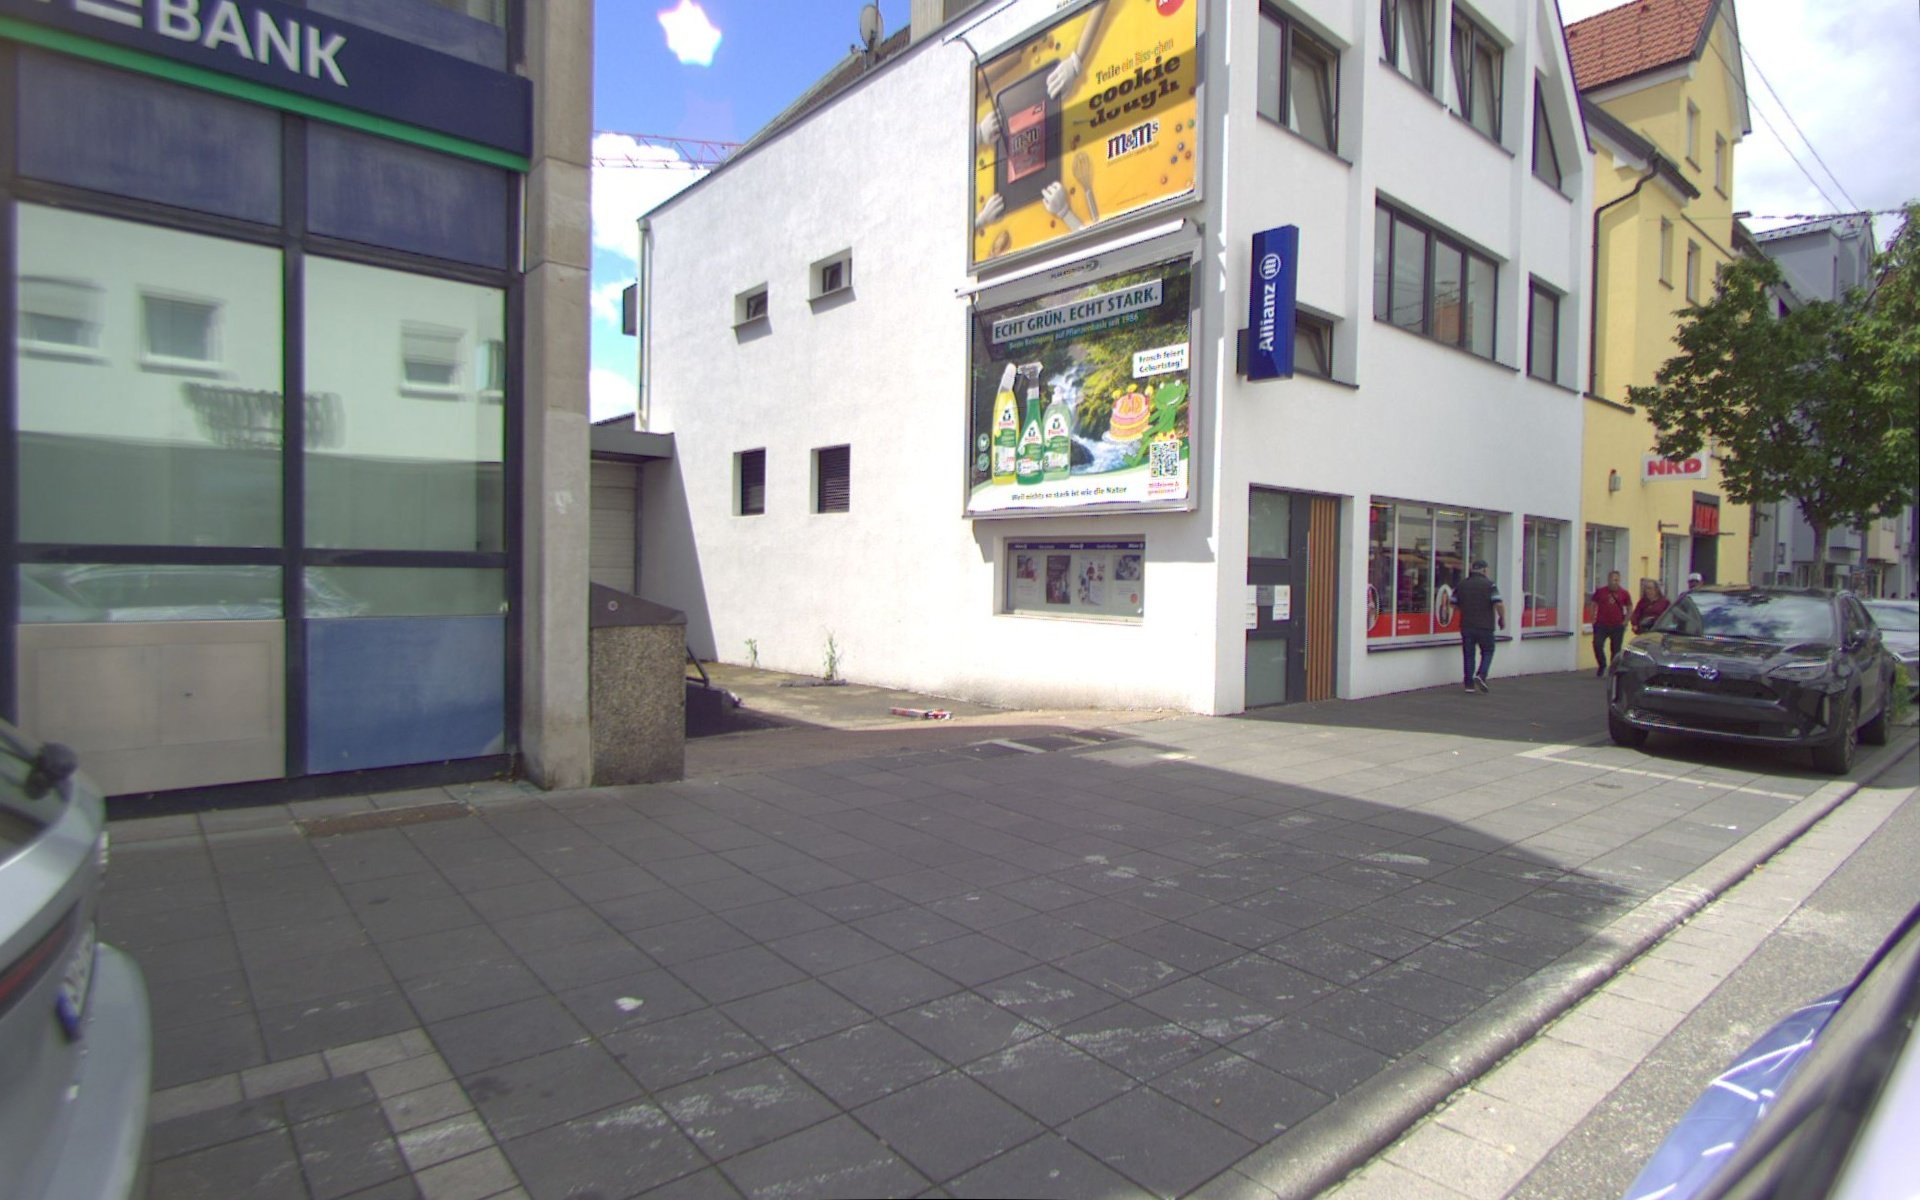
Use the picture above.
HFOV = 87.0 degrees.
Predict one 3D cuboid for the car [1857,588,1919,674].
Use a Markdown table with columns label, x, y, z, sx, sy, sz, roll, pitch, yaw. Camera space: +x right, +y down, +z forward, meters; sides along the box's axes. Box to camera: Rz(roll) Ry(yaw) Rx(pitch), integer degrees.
| label | x | y | z | sx | sy | sz | roll | pitch | yaw |
| --- | --- | --- | --- | --- | --- | --- | --- | --- | --- |
| car | 18.985 | 0.532 | 19.648 | 4.869 | 1.494 | 1.634 | -1 | 1 | -40 |

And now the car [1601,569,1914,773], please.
| label | x | y | z | sx | sy | sz | roll | pitch | yaw |
| --- | --- | --- | --- | --- | --- | --- | --- | --- | --- |
| car | 7.896 | 0.514 | 9.884 | 4.038 | 1.596 | 1.724 | -1 | 1 | -41 |

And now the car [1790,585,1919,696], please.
| label | x | y | z | sx | sy | sz | roll | pitch | yaw |
| --- | --- | --- | --- | --- | --- | --- | --- | --- | --- |
| car | 14.401 | 0.531 | 15.646 | 4.278 | 1.494 | 1.724 | -1 | 1 | -41 |

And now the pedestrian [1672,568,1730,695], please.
| label | x | y | z | sx | sy | sz | roll | pitch | yaw |
| --- | --- | --- | --- | --- | --- | --- | --- | --- | --- |
| pedestrian | 11.239 | 0.459 | 15.344 | 0.566 | 1.864 | 0.589 | -1 | 0 | -40 |

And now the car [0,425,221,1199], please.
| label | x | y | z | sx | sy | sz | roll | pitch | yaw |
| --- | --- | --- | --- | --- | --- | --- | --- | --- | --- |
| car | -3.076 | 0.550 | 0.429 | 4.349 | 1.596 | 1.725 | 2 | 1 | -40 |

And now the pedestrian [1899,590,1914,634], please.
| label | x | y | z | sx | sy | sz | roll | pitch | yaw |
| --- | --- | --- | --- | --- | --- | --- | --- | --- | --- |
| pedestrian | 38.296 | 0.485 | 40.942 | 0.528 | 1.739 | 0.436 | -1 | 0 | -43 |

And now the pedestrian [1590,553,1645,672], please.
| label | x | y | z | sx | sy | sz | roll | pitch | yaw |
| --- | --- | --- | --- | --- | --- | --- | --- | --- | --- |
| pedestrian | 10.485 | 0.187 | 16.142 | 0.566 | 1.864 | 0.589 | -1 | 0 | -40 |

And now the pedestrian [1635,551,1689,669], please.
| label | x | y | z | sx | sy | sz | roll | pitch | yaw |
| --- | --- | --- | --- | --- | --- | --- | --- | --- | --- |
| pedestrian | 11.410 | 0.149 | 16.447 | 0.566 | 1.864 | 0.589 | -1 | 0 | -40 |

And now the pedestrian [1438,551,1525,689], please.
| label | x | y | z | sx | sy | sz | roll | pitch | yaw |
| --- | --- | --- | --- | --- | --- | --- | --- | --- | --- |
| pedestrian | 6.953 | 0.239 | 13.500 | 0.743 | 1.758 | 0.743 | -1 | 3 | -40 |

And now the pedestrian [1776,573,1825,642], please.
| label | x | y | z | sx | sy | sz | roll | pitch | yaw |
| --- | --- | --- | --- | --- | --- | --- | --- | --- | --- |
| pedestrian | 19.930 | 0.160 | 23.996 | 0.713 | 1.572 | 0.751 | -1 | 2 | -41 |
